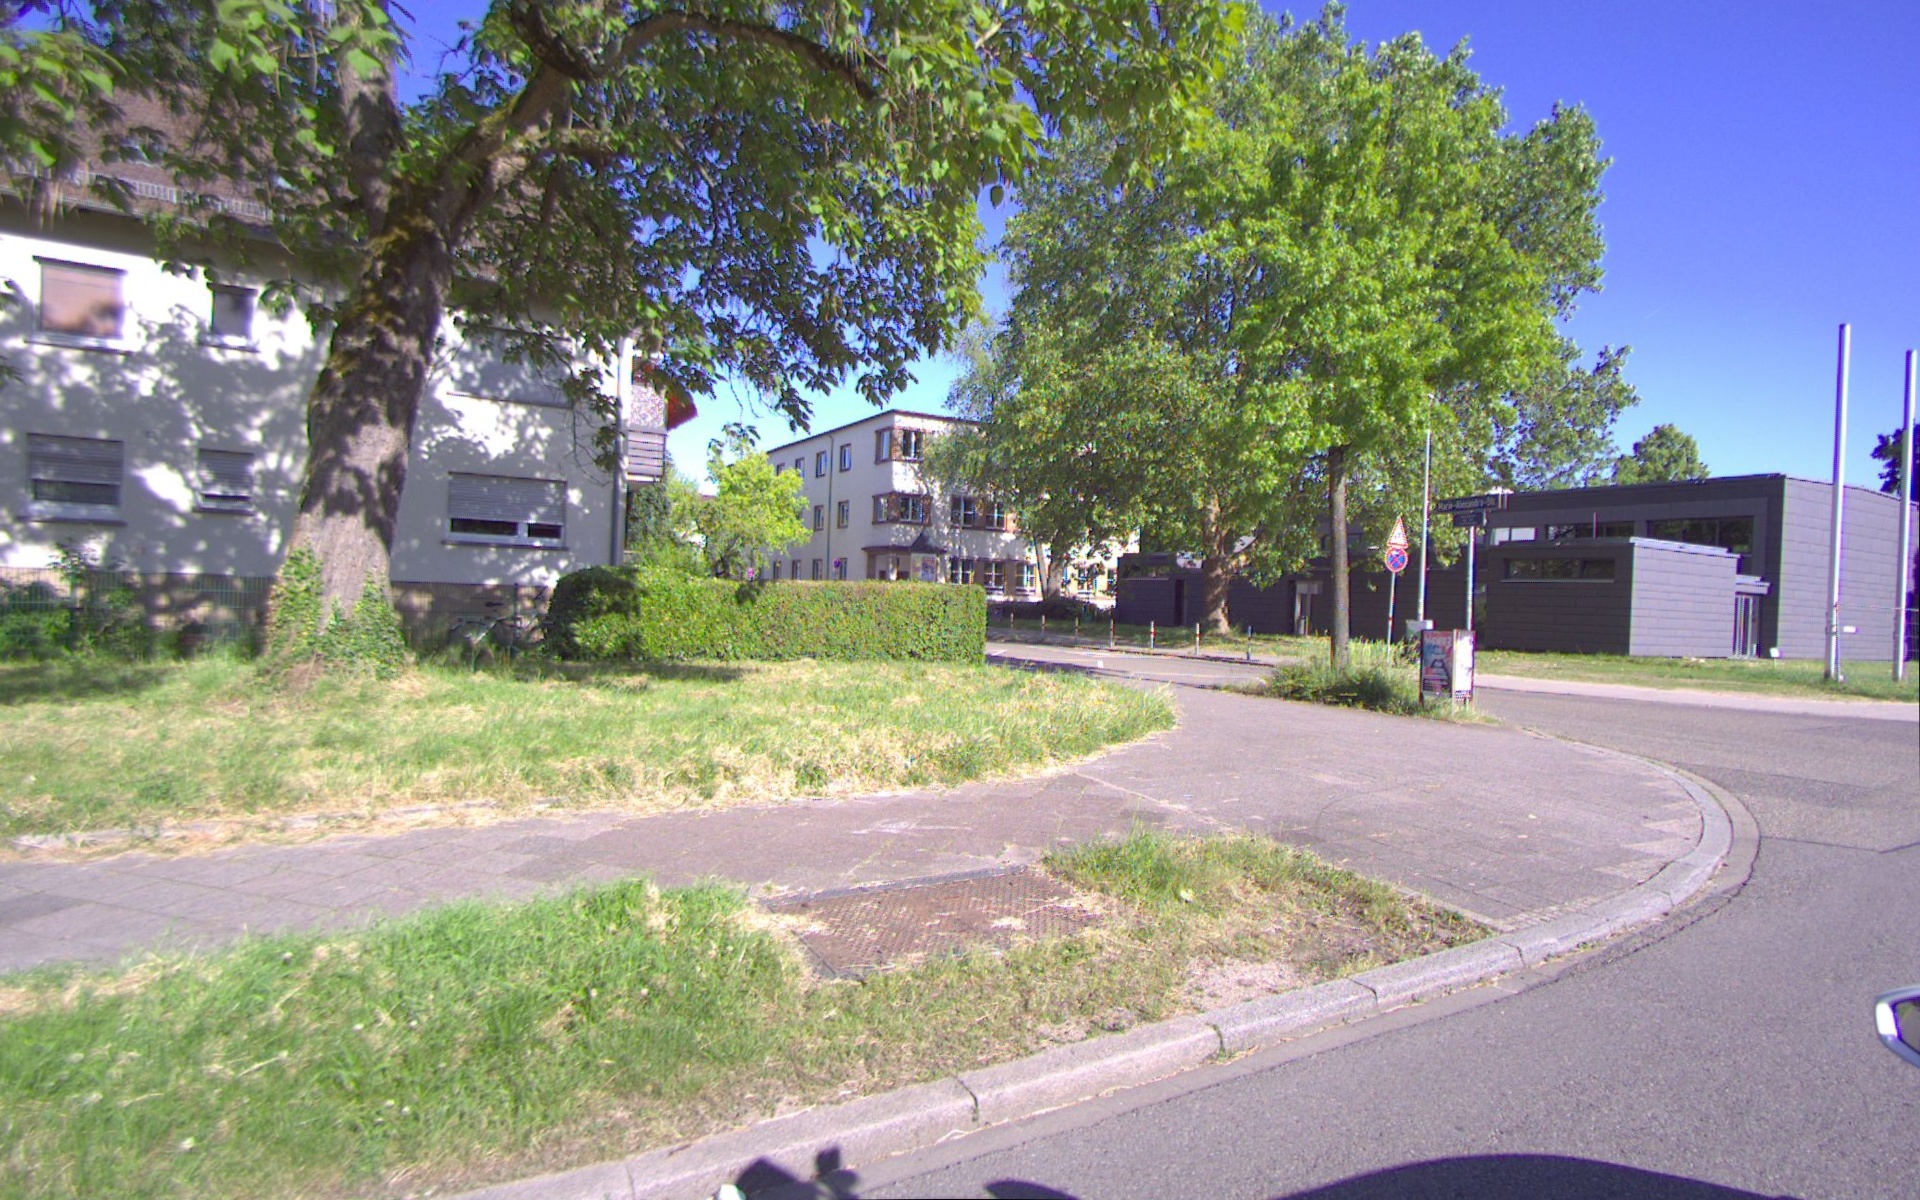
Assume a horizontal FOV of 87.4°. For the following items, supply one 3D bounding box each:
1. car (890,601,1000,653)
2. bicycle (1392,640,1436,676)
[{"bbox_3d":[-0.547,0.823,32.146,1.935,1.568,3.697,0,0,-32],"label":"car"},{"bbox_3d":[11.876,1.499,26.281,0.999,0.899,0.440,0,0,16],"label":"bicycle"}]
